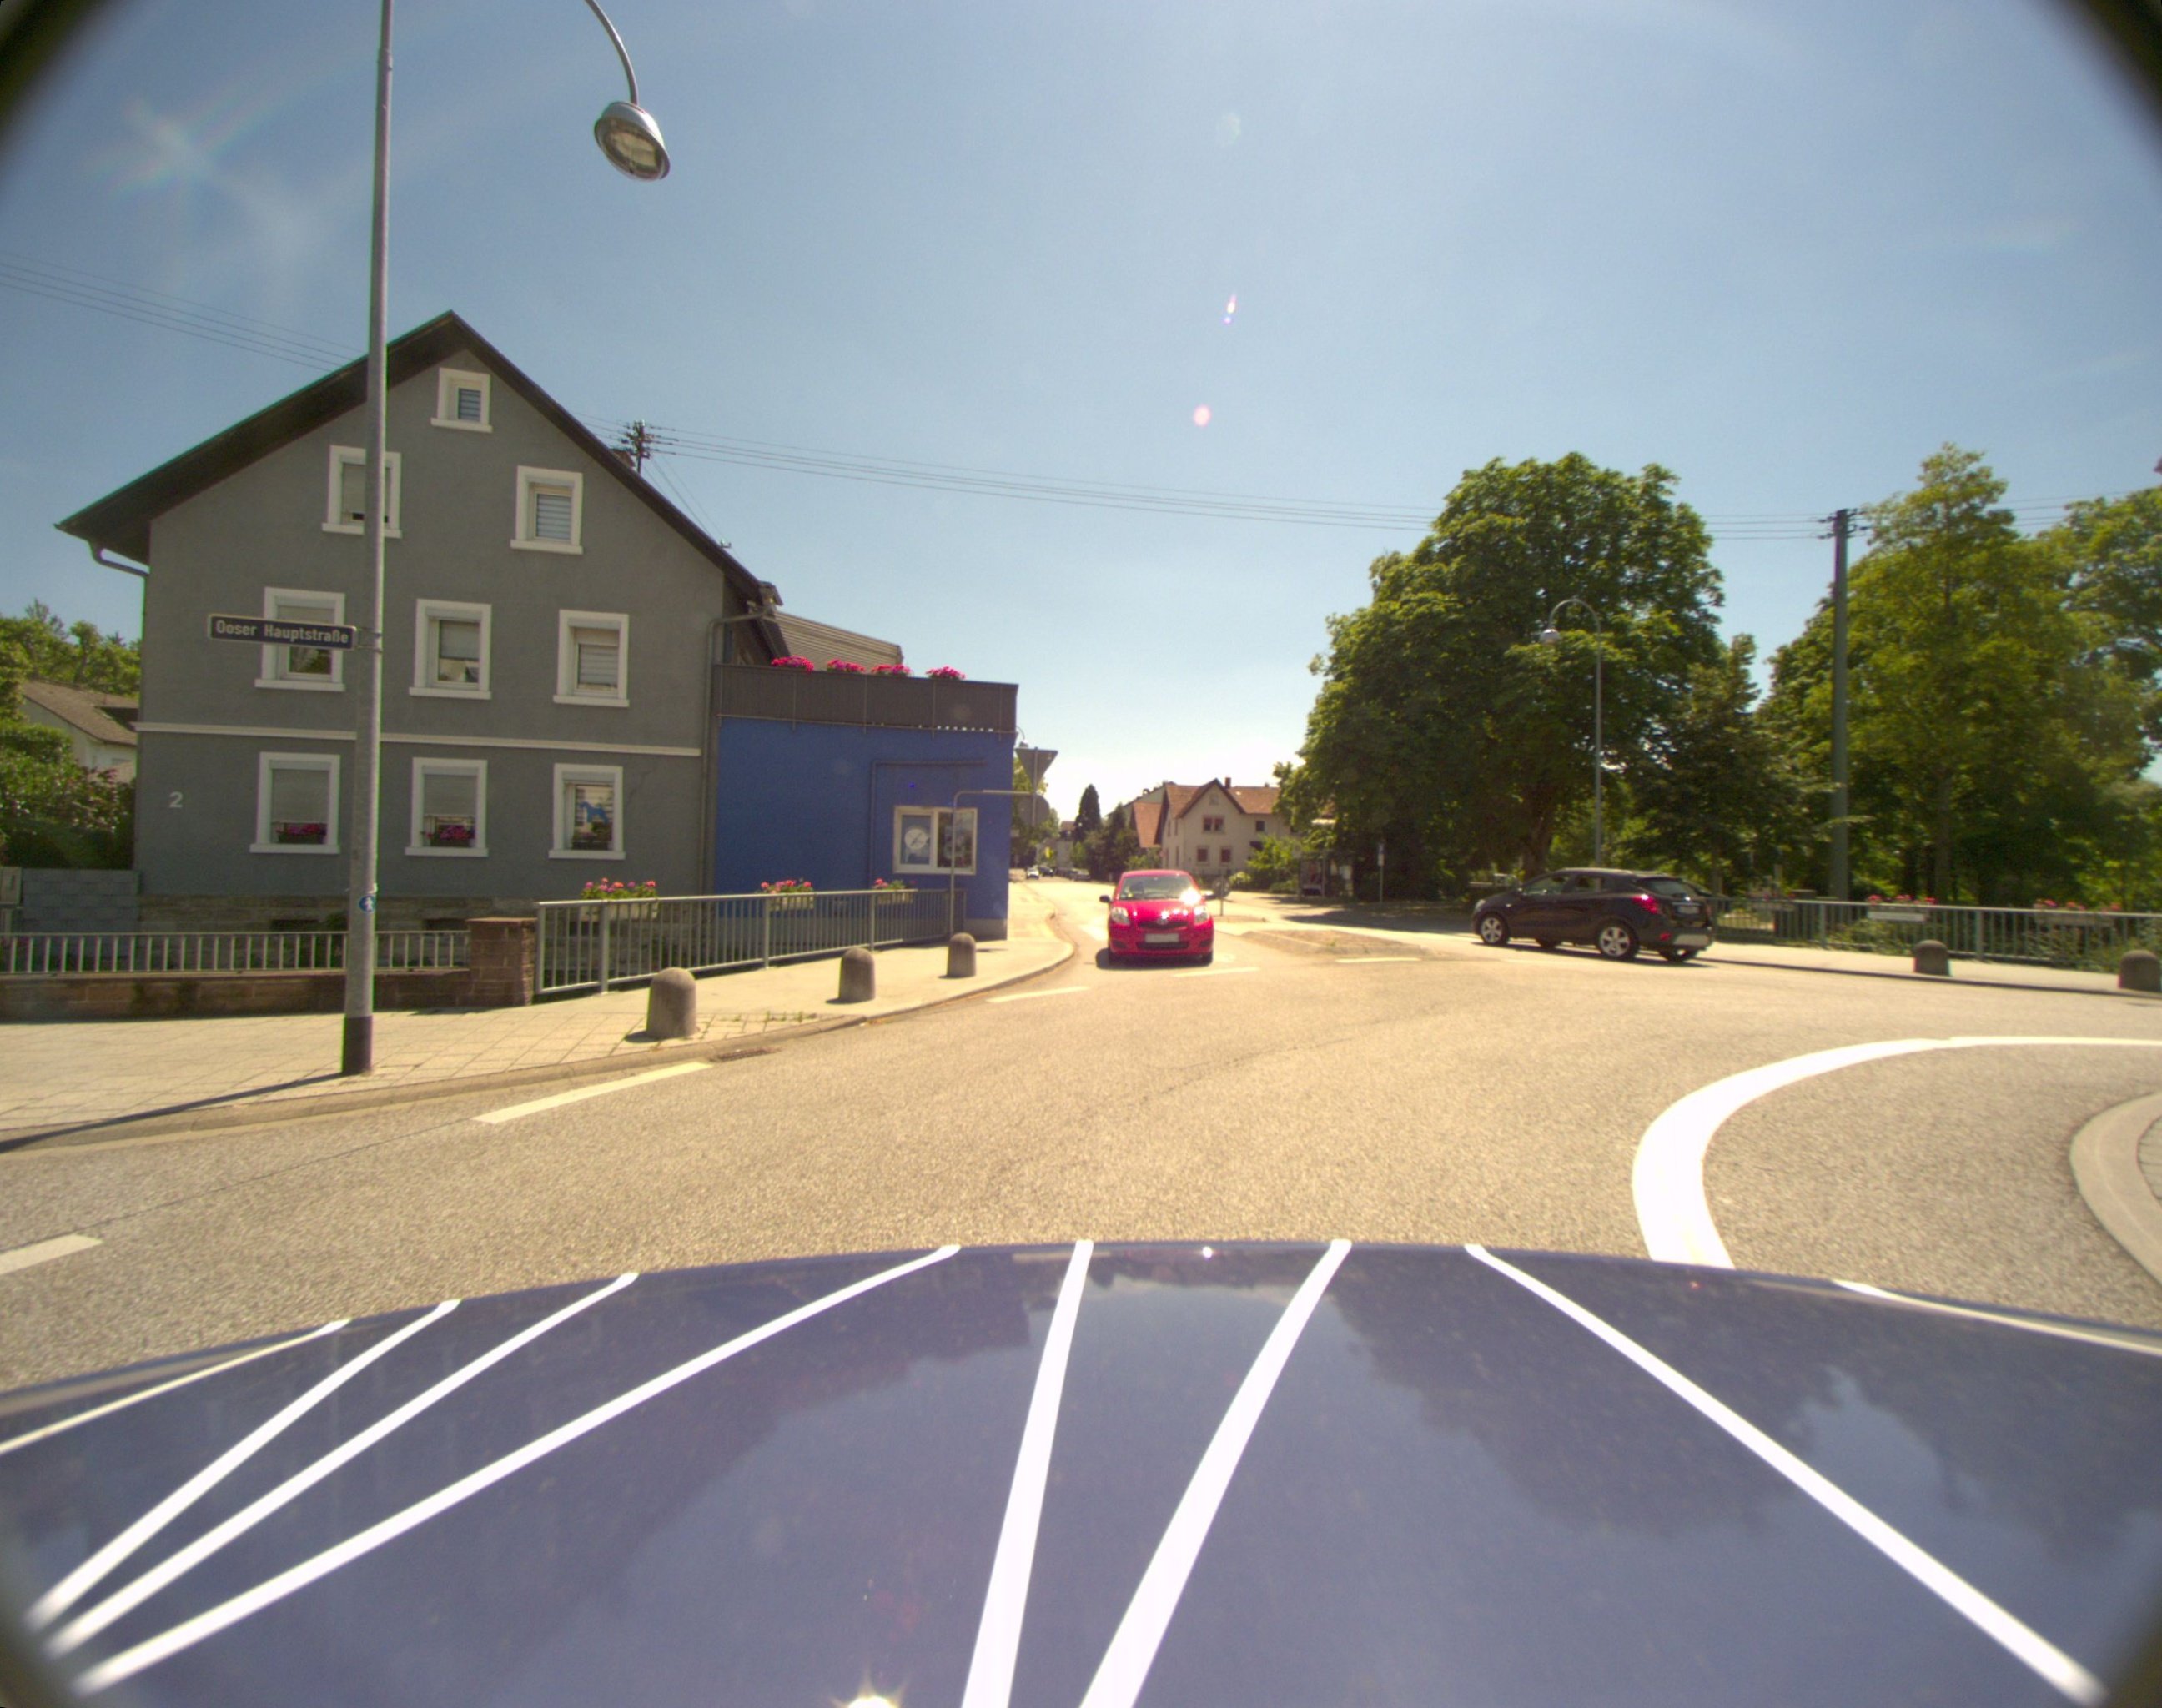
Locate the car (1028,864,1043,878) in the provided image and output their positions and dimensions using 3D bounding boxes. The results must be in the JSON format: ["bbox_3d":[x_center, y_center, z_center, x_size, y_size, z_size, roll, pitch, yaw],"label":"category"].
[{"bbox_3d":[-7.004,2.581,115.647,2.000,2.001,4.000,2,-3,-6],"label":"car"}]

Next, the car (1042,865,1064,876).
[{"bbox_3d":[-5.554,3.346,152.729,4.003,2.001,1.998,3,-3,-15],"label":"car"}]

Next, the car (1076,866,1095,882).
[{"bbox_3d":[0.582,2.734,102.483,2.000,2.001,4.000,2,-3,-6],"label":"car"}]

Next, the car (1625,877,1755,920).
[{"bbox_3d":[26.037,1.846,32.586,1.846,1.592,3.989,2,-1,-37],"label":"car"}]

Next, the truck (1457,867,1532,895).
[{"bbox_3d":[39.354,2.564,72.480,6.202,2.427,2.270,1,-3,26],"label":"truck"}]

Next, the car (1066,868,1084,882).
[{"bbox_3d":[-0.853,3.126,113.353,2.000,2.001,3.998,3,-3,-10],"label":"car"}]

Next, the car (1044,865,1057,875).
[{"bbox_3d":[-5.330,2.792,132.242,1.740,1.695,3.998,0,-3,-9],"label":"car"}]

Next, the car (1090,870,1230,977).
[{"bbox_3d":[1.222,1.085,13.421,1.834,1.524,4.000,-2,-1,-3],"label":"car"}]

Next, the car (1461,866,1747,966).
[{"bbox_3d":[9.824,1.084,14.721,2.002,1.552,4.160,4,-1,-18],"label":"car"}]

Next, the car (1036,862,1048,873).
[{"bbox_3d":[-7.719,2.606,149.861,2.000,2.001,3.998,3,-3,-10],"label":"car"}]
